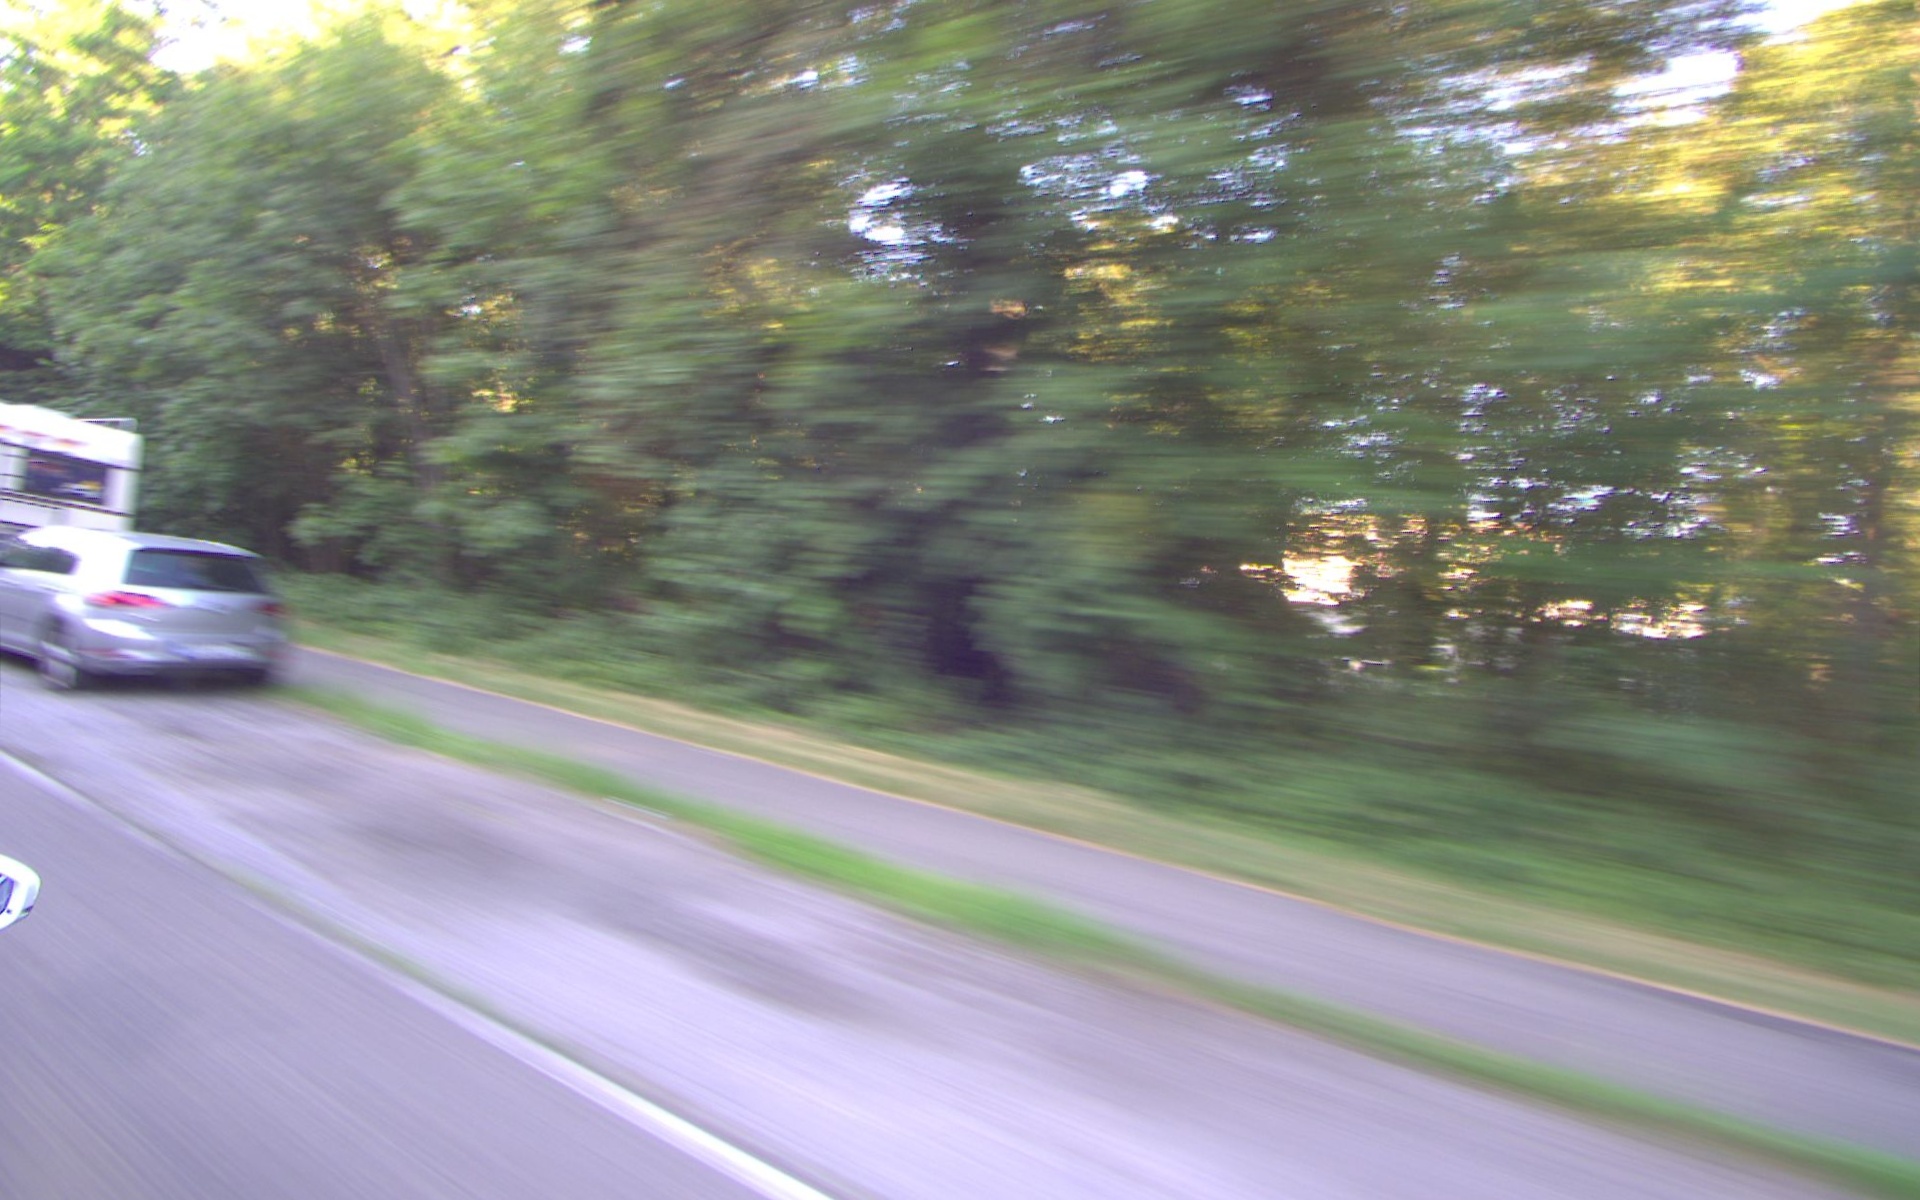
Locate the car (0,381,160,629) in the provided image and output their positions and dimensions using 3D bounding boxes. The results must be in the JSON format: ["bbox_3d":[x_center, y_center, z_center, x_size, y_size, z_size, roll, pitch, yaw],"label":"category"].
[{"bbox_3d":[-14.035,-1.451,13.899,5.831,2.891,2.414,7,-2,29],"label":"car"}]

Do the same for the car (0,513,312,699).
[{"bbox_3d":[-8.588,-0.007,10.166,4.007,1.422,1.701,7,-1,30],"label":"car"}]
